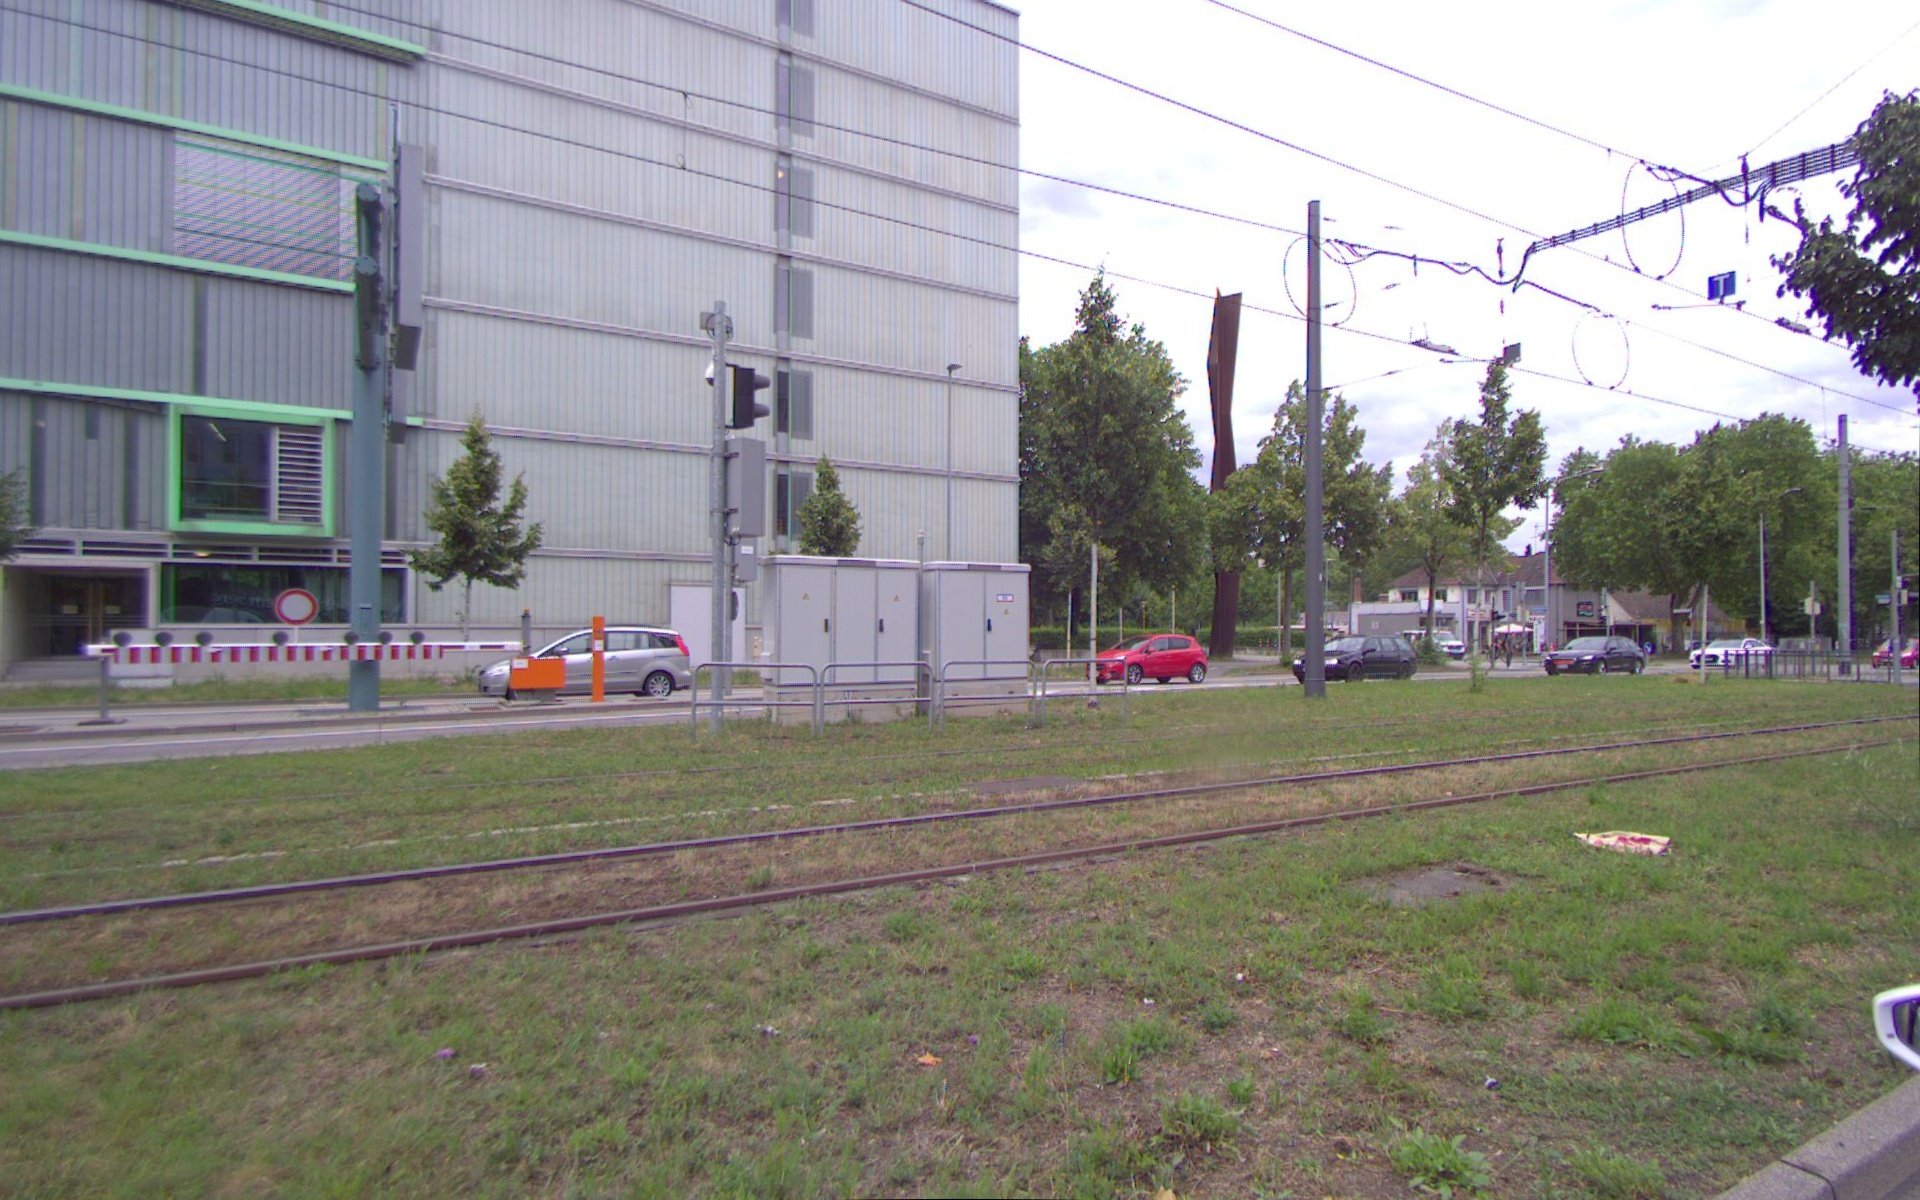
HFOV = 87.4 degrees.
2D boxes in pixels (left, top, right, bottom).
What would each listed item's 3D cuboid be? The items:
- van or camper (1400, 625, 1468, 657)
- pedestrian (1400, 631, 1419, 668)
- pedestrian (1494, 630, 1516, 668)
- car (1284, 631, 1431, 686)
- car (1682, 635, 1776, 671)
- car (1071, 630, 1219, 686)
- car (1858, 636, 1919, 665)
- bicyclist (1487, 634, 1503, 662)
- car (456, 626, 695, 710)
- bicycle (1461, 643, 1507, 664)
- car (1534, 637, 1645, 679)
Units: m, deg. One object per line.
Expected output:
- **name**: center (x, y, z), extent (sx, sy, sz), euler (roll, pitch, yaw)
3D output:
- **van or camper**: center (32.550, 2.785, 69.176), extent (2.416, 2.040, 5.283), euler (0, -1, 2)
- **pedestrian**: center (25.389, 2.806, 56.799), extent (0.887, 2.040, 0.954), euler (0, -1, 18)
- **pedestrian**: center (26.759, 2.394, 49.293), extent (0.769, 1.856, 0.771), euler (-1, -1, 43)
- **car**: center (11.391, 1.630, 28.665), extent (4.701, 1.445, 1.652), euler (1, -3, -37)
- **car**: center (36.835, 2.488, 48.082), extent (5.018, 1.609, 1.803), euler (1, -1, -30)
- **car**: center (5.590, 1.696, 30.246), extent (4.275, 1.591, 1.788), euler (1, -1, -29)
- **car**: center (46.928, 2.503, 50.291), extent (4.220, 1.395, 1.802), euler (1, -2, -31)
- **bicyclist**: center (33.039, 2.964, 62.033), extent (0.838, 1.744, 0.719), euler (0, -1, 34)
- **car**: center (-8.287, 1.401, 21.819), extent (4.623, 1.665, 1.711), euler (1, -2, -33)
- **bicycle**: center (32.539, 3.331, 62.381), extent (2.474, 1.218, 0.738), euler (-1, -1, 35)
- **car**: center (22.712, 2.062, 36.194), extent (4.011, 1.395, 1.792), euler (1, -2, -31)
